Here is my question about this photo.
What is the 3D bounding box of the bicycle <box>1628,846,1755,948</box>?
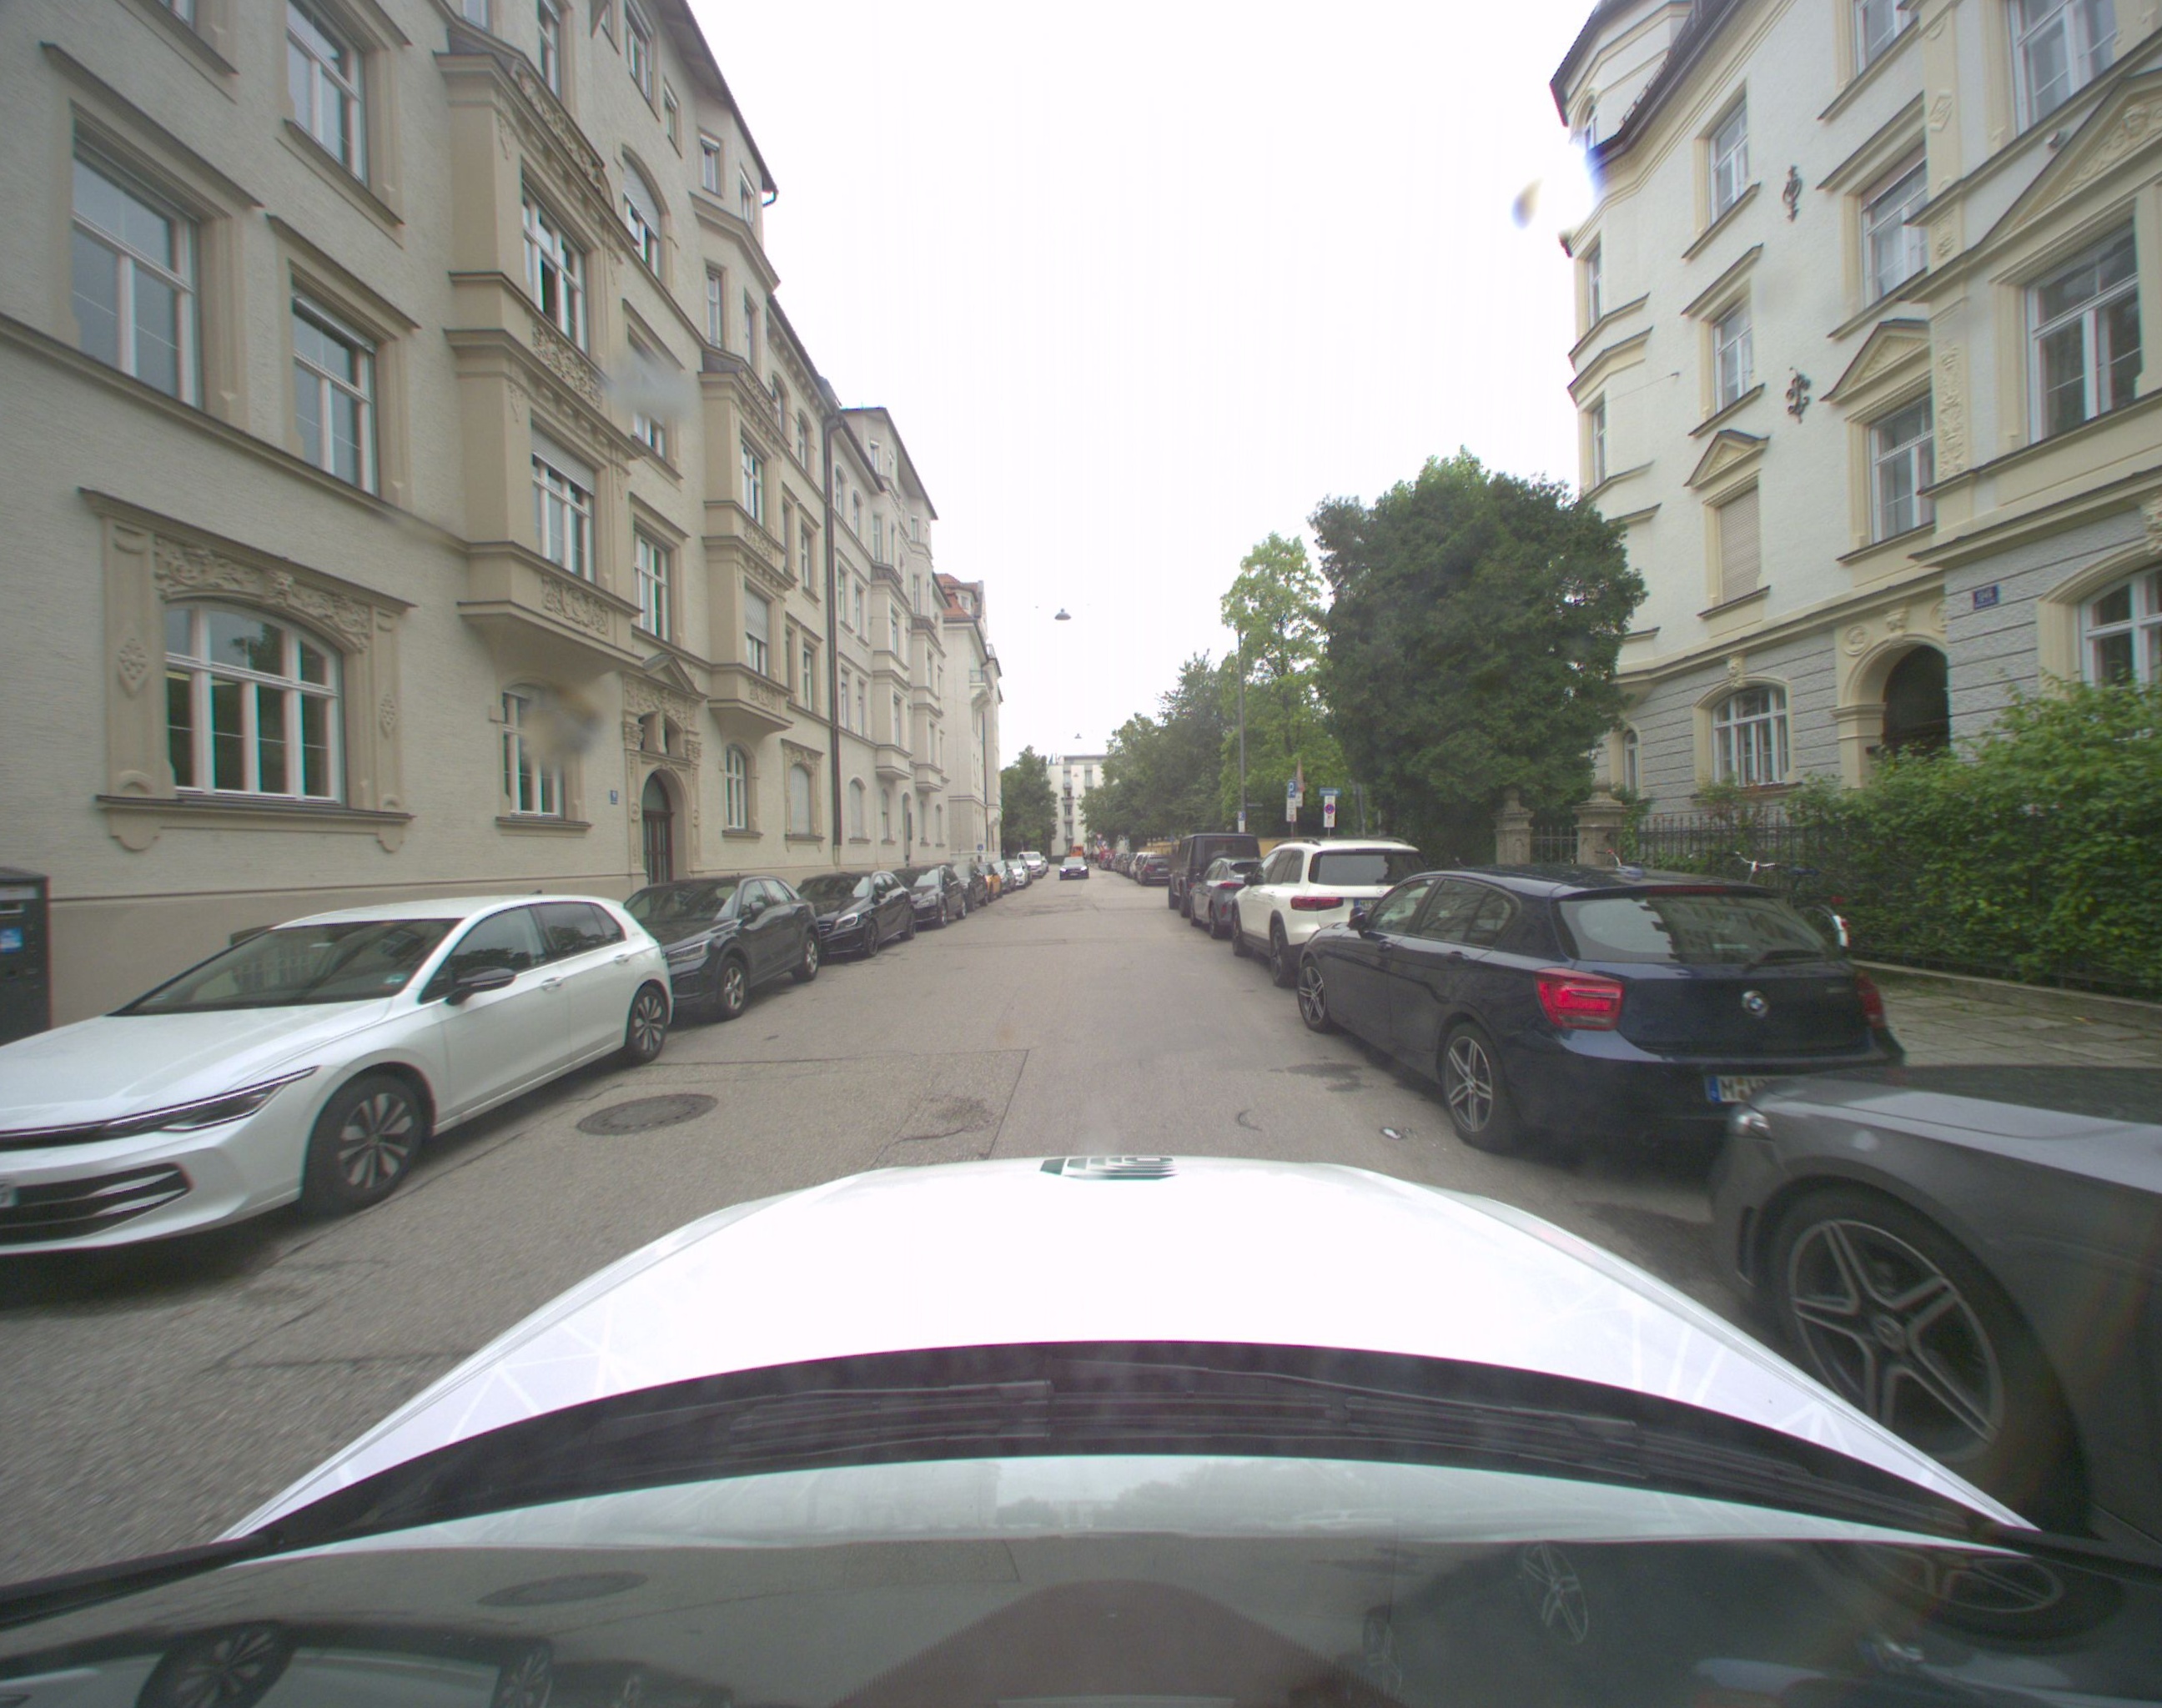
[{"bbox_3d":[7.114,0.474,9.561,0.453,1.098,1.313,-2,-1,0],"label":"bicycle"}]

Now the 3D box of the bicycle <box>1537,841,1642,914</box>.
[{"bbox_3d":[8.514,0.390,13.656,1.484,1.198,0.489,0,-1,-5],"label":"bicycle"}]

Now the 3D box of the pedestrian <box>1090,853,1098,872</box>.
[{"bbox_3d":[1.594,1.090,100.749,0.836,2.285,0.845,-2,-1,4],"label":"pedestrian"}]

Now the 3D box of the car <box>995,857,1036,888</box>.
[{"bbox_3d":[-3.642,0.997,45.680,1.831,1.499,4.274,-5,0,0],"label":"car"}]

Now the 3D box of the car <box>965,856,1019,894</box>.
[{"bbox_3d":[-3.857,0.911,35.971,1.719,1.499,3.932,-4,-1,2],"label":"car"}]

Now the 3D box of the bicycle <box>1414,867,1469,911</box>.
[{"bbox_3d":[7.092,0.673,16.091,0.511,0.781,1.355,-2,-1,2],"label":"bicycle"}]

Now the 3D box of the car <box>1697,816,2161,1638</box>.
[{"bbox_3d":[2.817,0.657,0.563,1.679,1.504,4.016,-1,0,-1],"label":"car"}]

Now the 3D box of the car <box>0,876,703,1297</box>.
[{"bbox_3d":[-4.358,0.975,5.198,1.831,1.434,4.243,-4,0,0],"label":"car"}]

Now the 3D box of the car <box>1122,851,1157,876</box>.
[{"bbox_3d":[3.791,0.660,53.544,1.834,1.551,3.944,-1,-1,-2],"label":"car"}]

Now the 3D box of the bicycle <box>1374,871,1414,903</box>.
[{"bbox_3d":[7.245,0.751,18.866,0.511,0.683,1.124,-2,-1,2],"label":"bicycle"}]

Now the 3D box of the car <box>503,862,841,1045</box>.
[{"bbox_3d":[-4.474,0.951,9.823,1.765,1.518,4.383,-5,0,-1],"label":"car"}]

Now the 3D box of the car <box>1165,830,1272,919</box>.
[{"bbox_3d":[3.293,0.431,20.403,1.944,1.954,4.666,-1,1,1],"label":"car"}]

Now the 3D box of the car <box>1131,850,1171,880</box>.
[{"bbox_3d":[3.712,0.577,43.625,1.648,1.519,3.791,-1,-1,-2],"label":"car"}]

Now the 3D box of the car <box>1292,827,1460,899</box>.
[{"bbox_3d":[9.144,0.243,25.463,4.523,1.950,1.900,-3,1,-6],"label":"car"}]

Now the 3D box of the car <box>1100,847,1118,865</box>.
[{"bbox_3d":[3.107,0.227,89.062,1.828,1.927,4.008,0,0,3],"label":"car"}]

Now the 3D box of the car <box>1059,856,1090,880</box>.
[{"bbox_3d":[-0.430,0.888,52.978,1.869,1.428,4.406,-2,-1,-1],"label":"car"}]

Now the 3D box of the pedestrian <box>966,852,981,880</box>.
[{"bbox_3d":[-6.550,0.702,49.729,0.790,1.679,0.700,-1,0,-2],"label":"pedestrian"}]

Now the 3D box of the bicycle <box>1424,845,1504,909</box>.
[{"bbox_3d":[6.969,0.409,14.874,0.514,1.094,1.346,-2,-1,-16],"label":"bicycle"}]

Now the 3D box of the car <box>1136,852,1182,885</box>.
[{"bbox_3d":[3.649,0.678,38.612,1.832,1.413,4.343,-1,-1,1],"label":"car"}]

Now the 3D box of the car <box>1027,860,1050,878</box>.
[{"bbox_3d":[-4.280,1.473,83.030,2.009,1.634,4.412,-5,0,-1],"label":"car"}]

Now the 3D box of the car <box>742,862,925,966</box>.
[{"bbox_3d":[-4.238,0.937,14.783,1.828,1.434,4.553,-4,0,0],"label":"car"}]

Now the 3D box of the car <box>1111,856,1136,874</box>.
[{"bbox_3d":[3.806,0.988,73.073,1.834,1.519,3.944,-1,-1,-2],"label":"car"}]

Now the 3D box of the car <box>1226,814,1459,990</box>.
[{"bbox_3d":[3.050,0.516,10.486,1.716,1.769,4.415,0,-1,2],"label":"car"}]

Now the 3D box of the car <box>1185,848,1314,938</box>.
[{"bbox_3d":[3.083,0.688,15.578,1.717,1.519,3.629,0,-1,-1],"label":"car"}]

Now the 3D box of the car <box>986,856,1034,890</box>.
[{"bbox_3d":[-3.498,0.919,40.861,1.829,1.438,4.276,-5,0,2],"label":"car"}]

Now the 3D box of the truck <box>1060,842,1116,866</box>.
[{"bbox_3d":[1.003,0.017,120.162,7.677,3.241,2.887,-2,-1,-12],"label":"truck"}]

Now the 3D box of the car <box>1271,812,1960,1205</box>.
[{"bbox_3d":[2.768,0.631,5.612,1.745,1.610,4.420,0,0,-2],"label":"car"}]

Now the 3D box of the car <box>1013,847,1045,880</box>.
[{"bbox_3d":[-3.735,0.681,59.374,1.881,2.127,4.704,-5,0,-1],"label":"car"}]

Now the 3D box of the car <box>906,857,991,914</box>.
[{"bbox_3d":[-3.994,0.897,25.203,1.747,1.499,4.020,-4,0,2],"label":"car"}]

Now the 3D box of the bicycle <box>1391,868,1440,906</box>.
[{"bbox_3d":[7.178,0.696,17.530,0.511,0.734,1.355,-2,0,2],"label":"bicycle"}]

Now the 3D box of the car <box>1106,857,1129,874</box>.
[{"bbox_3d":[3.412,1.087,77.063,1.834,1.519,3.944,-1,-1,-2],"label":"car"}]

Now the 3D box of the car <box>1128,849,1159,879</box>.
[{"bbox_3d":[3.675,0.588,48.356,1.509,1.661,3.672,-1,-1,-1],"label":"car"}]

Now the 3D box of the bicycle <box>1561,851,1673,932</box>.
[{"bbox_3d":[7.820,0.538,11.910,1.305,1.098,0.455,-2,-1,-1],"label":"bicycle"}]

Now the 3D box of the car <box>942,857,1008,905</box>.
[{"bbox_3d":[-3.884,0.959,30.394,1.634,1.499,3.974,-5,0,2],"label":"car"}]

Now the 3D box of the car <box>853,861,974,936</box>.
[{"bbox_3d":[-3.935,0.987,19.862,1.829,1.435,4.246,-5,0,2],"label":"car"}]

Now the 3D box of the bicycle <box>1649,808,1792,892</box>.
[{"bbox_3d":[9.355,-0.057,11.939,1.694,1.183,0.489,-1,-1,-1],"label":"bicycle"}]
